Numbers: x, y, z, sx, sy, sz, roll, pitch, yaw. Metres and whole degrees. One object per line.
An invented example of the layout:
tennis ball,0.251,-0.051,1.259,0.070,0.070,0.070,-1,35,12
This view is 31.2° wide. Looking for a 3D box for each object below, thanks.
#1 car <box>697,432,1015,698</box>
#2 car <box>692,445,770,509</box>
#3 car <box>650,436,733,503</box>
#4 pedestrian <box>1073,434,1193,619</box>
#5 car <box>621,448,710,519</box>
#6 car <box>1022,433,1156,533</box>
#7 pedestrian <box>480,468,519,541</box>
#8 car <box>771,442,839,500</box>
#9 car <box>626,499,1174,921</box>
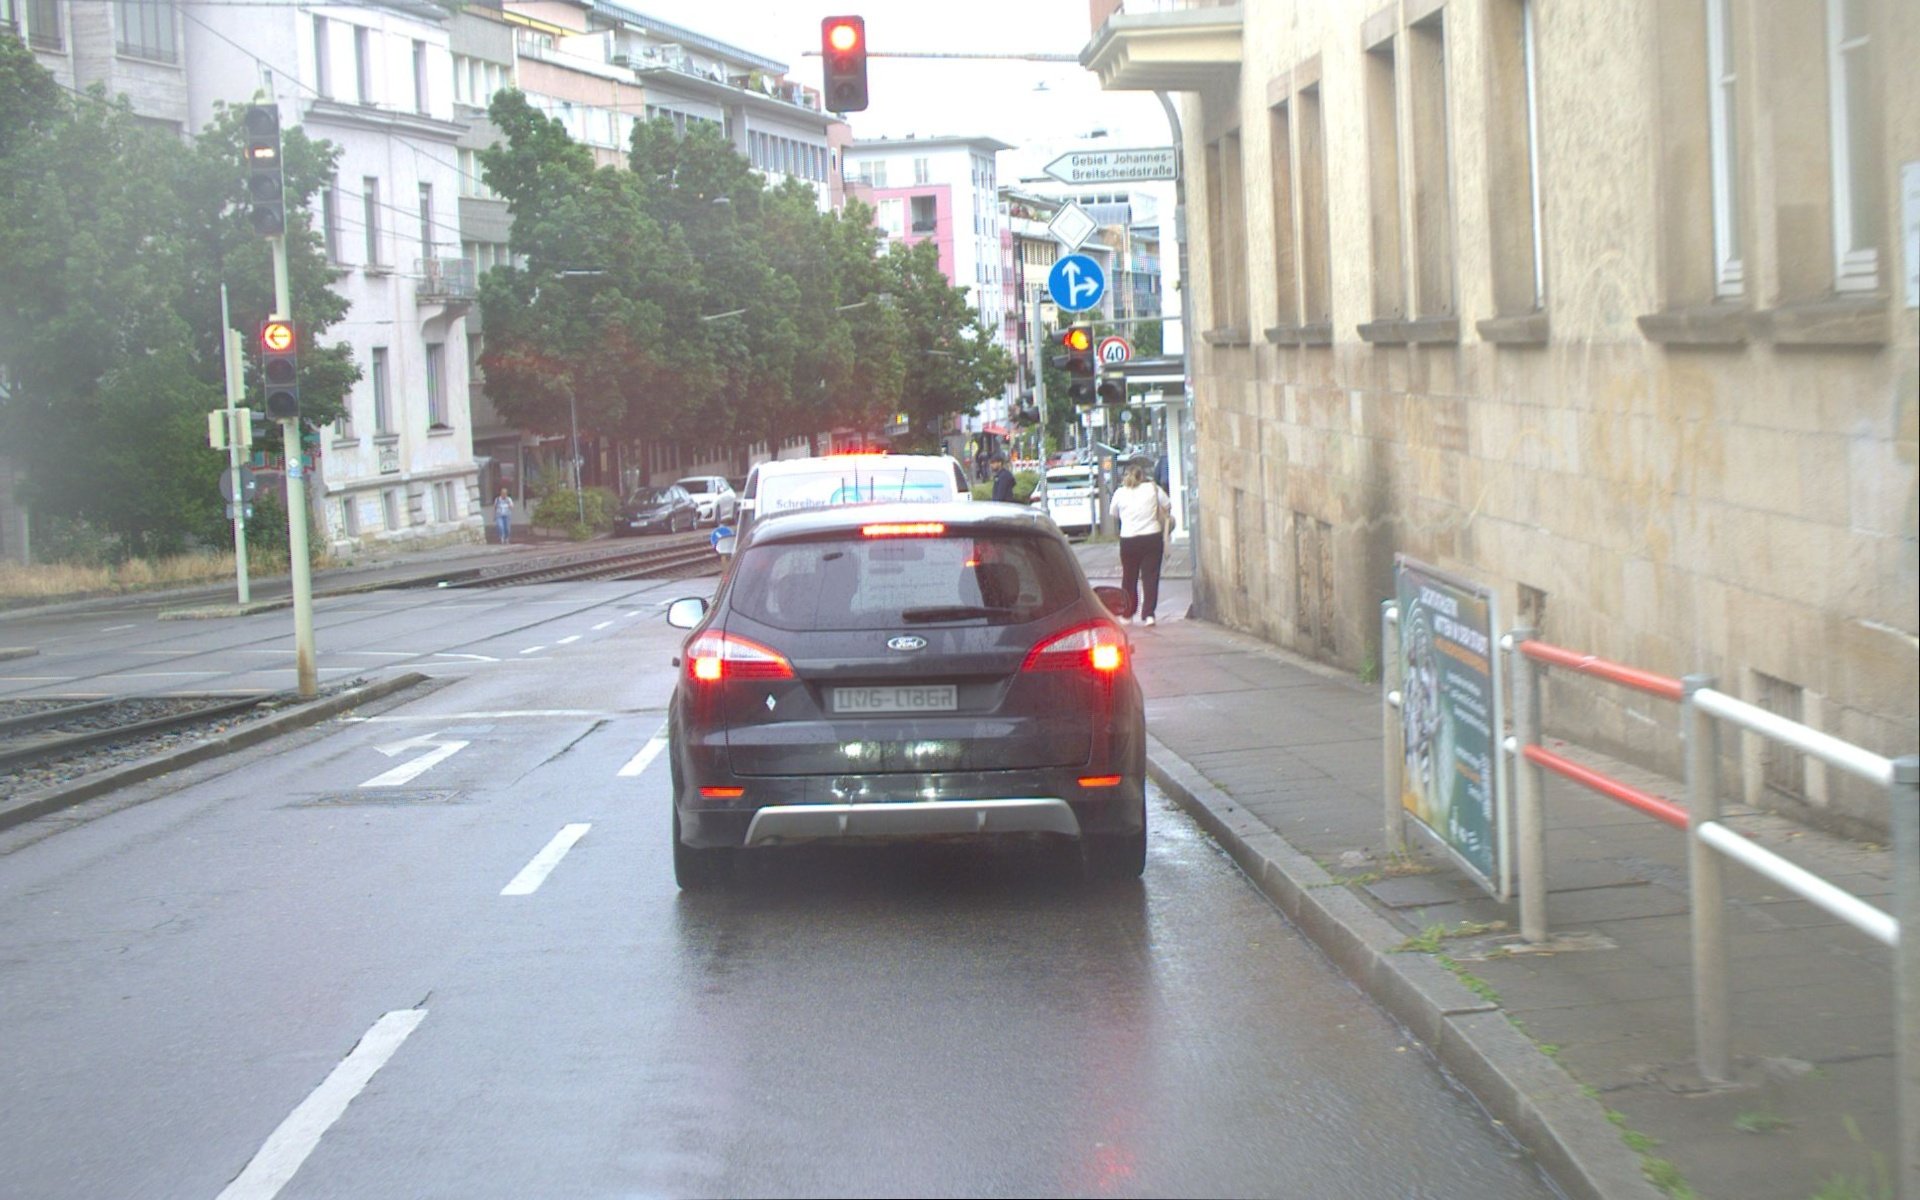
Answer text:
car,-0.857,-0.330,26.399,2.137,1.739,4.219,-4,2,-3
car,-7.723,-4.162,116.263,1.994,2.006,4.000,-3,2,4
car,-8.561,-4.178,109.917,1.994,2.006,4.000,-3,2,4
pedestrian,1.741,-0.750,34.730,1.045,1.788,0.902,-3,2,-3
car,-8.843,-3.514,103.635,1.994,2.006,4.000,-3,2,4
car,2.518,-2.267,66.087,1.994,1.766,3.999,-3,2,10
pedestrian,-12.889,-2.670,96.160,0.941,2.006,0.765,-3,2,-10
car,-5.738,-4.785,127.628,1.994,2.006,4.000,-3,2,4
car,-0.218,0.333,14.169,1.920,1.474,4.000,-1,2,0
